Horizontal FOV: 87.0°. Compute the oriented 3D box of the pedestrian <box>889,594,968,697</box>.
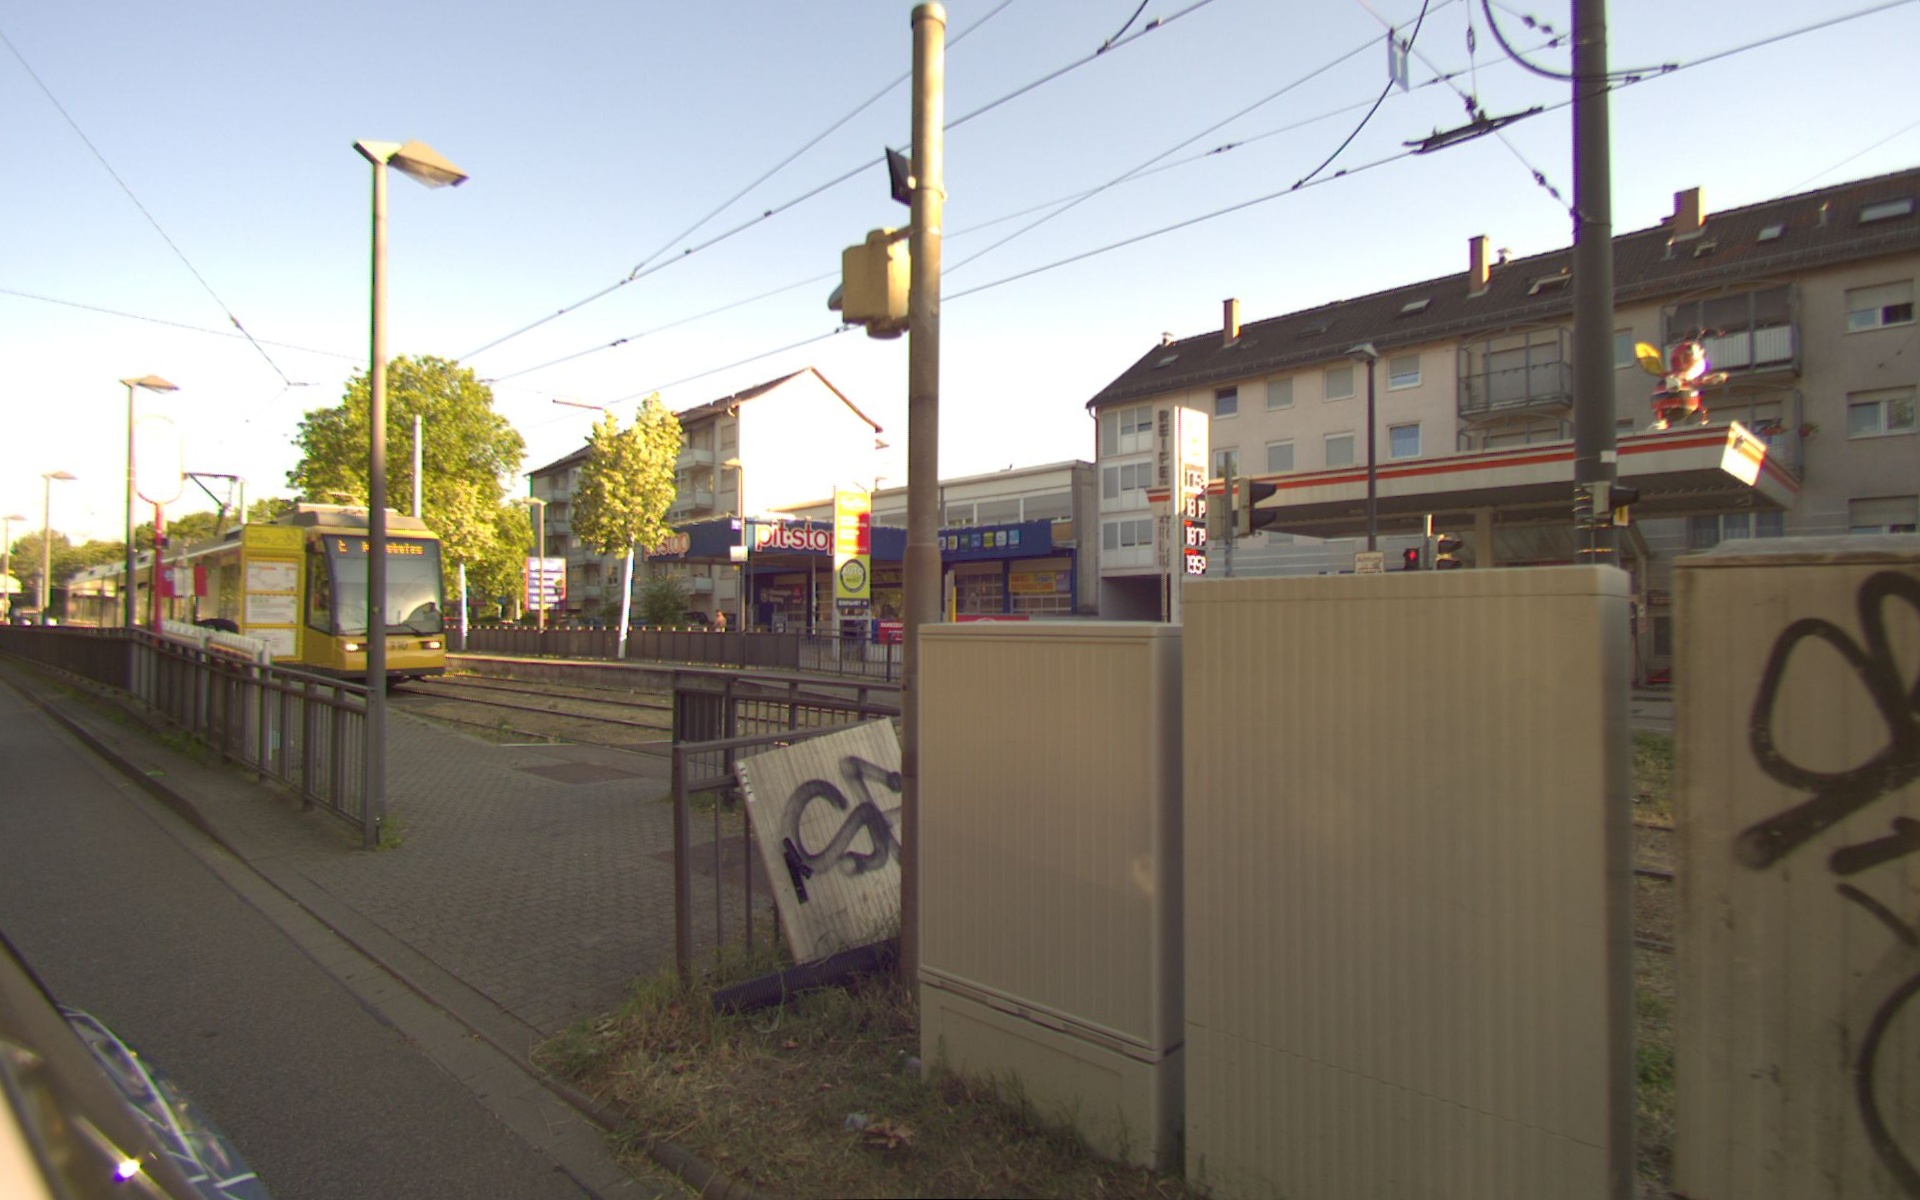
[{"bbox_3d":[-0.536,0.750,17.223,0.926,1.666,0.924,-1,0,43],"label":"pedestrian"}]

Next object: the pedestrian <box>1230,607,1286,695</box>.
[{"bbox_3d":[6.124,1.041,20.790,0.860,1.760,0.745,-1,-2,40],"label":"pedestrian"}]

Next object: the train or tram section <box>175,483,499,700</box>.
[{"bbox_3d":[-13.291,-0.053,21.011,10.096,3.544,3.002,0,-3,43],"label":"train or tram section"}]

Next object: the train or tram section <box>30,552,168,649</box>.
[{"bbox_3d":[-35.517,0.096,41.573,10.096,3.544,3.002,0,-3,43],"label":"train or tram section"}]

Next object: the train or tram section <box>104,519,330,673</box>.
[{"bbox_3d":[-20.694,-0.009,27.854,10.096,3.544,3.002,0,-3,43],"label":"train or tram section"}]

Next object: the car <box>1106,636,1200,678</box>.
[{"bbox_3d":[7.648,2.204,40.006,3.750,1.535,1.819,2,-2,-44],"label":"car"}]

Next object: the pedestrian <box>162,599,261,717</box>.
[{"bbox_3d":[-10.348,0.773,14.001,0.787,1.562,0.908,-1,-1,35],"label":"pedestrian"}]

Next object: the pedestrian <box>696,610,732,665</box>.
[{"bbox_3d":[-8.680,1.304,35.666,1.000,1.896,0.745,-1,1,42],"label":"pedestrian"}]

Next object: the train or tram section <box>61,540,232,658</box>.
[{"bbox_3d":[-28.092,0.056,34.708,10.096,3.544,3.002,0,-3,43],"label":"train or tram section"}]

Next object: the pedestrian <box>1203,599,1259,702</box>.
[{"bbox_3d":[5.246,0.962,19.573,0.755,1.947,0.848,-1,-2,41],"label":"pedestrian"}]

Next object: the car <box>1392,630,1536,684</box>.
[{"bbox_3d":[16.319,1.809,32.873,3.830,1.535,1.792,-1,1,44],"label":"car"}]
